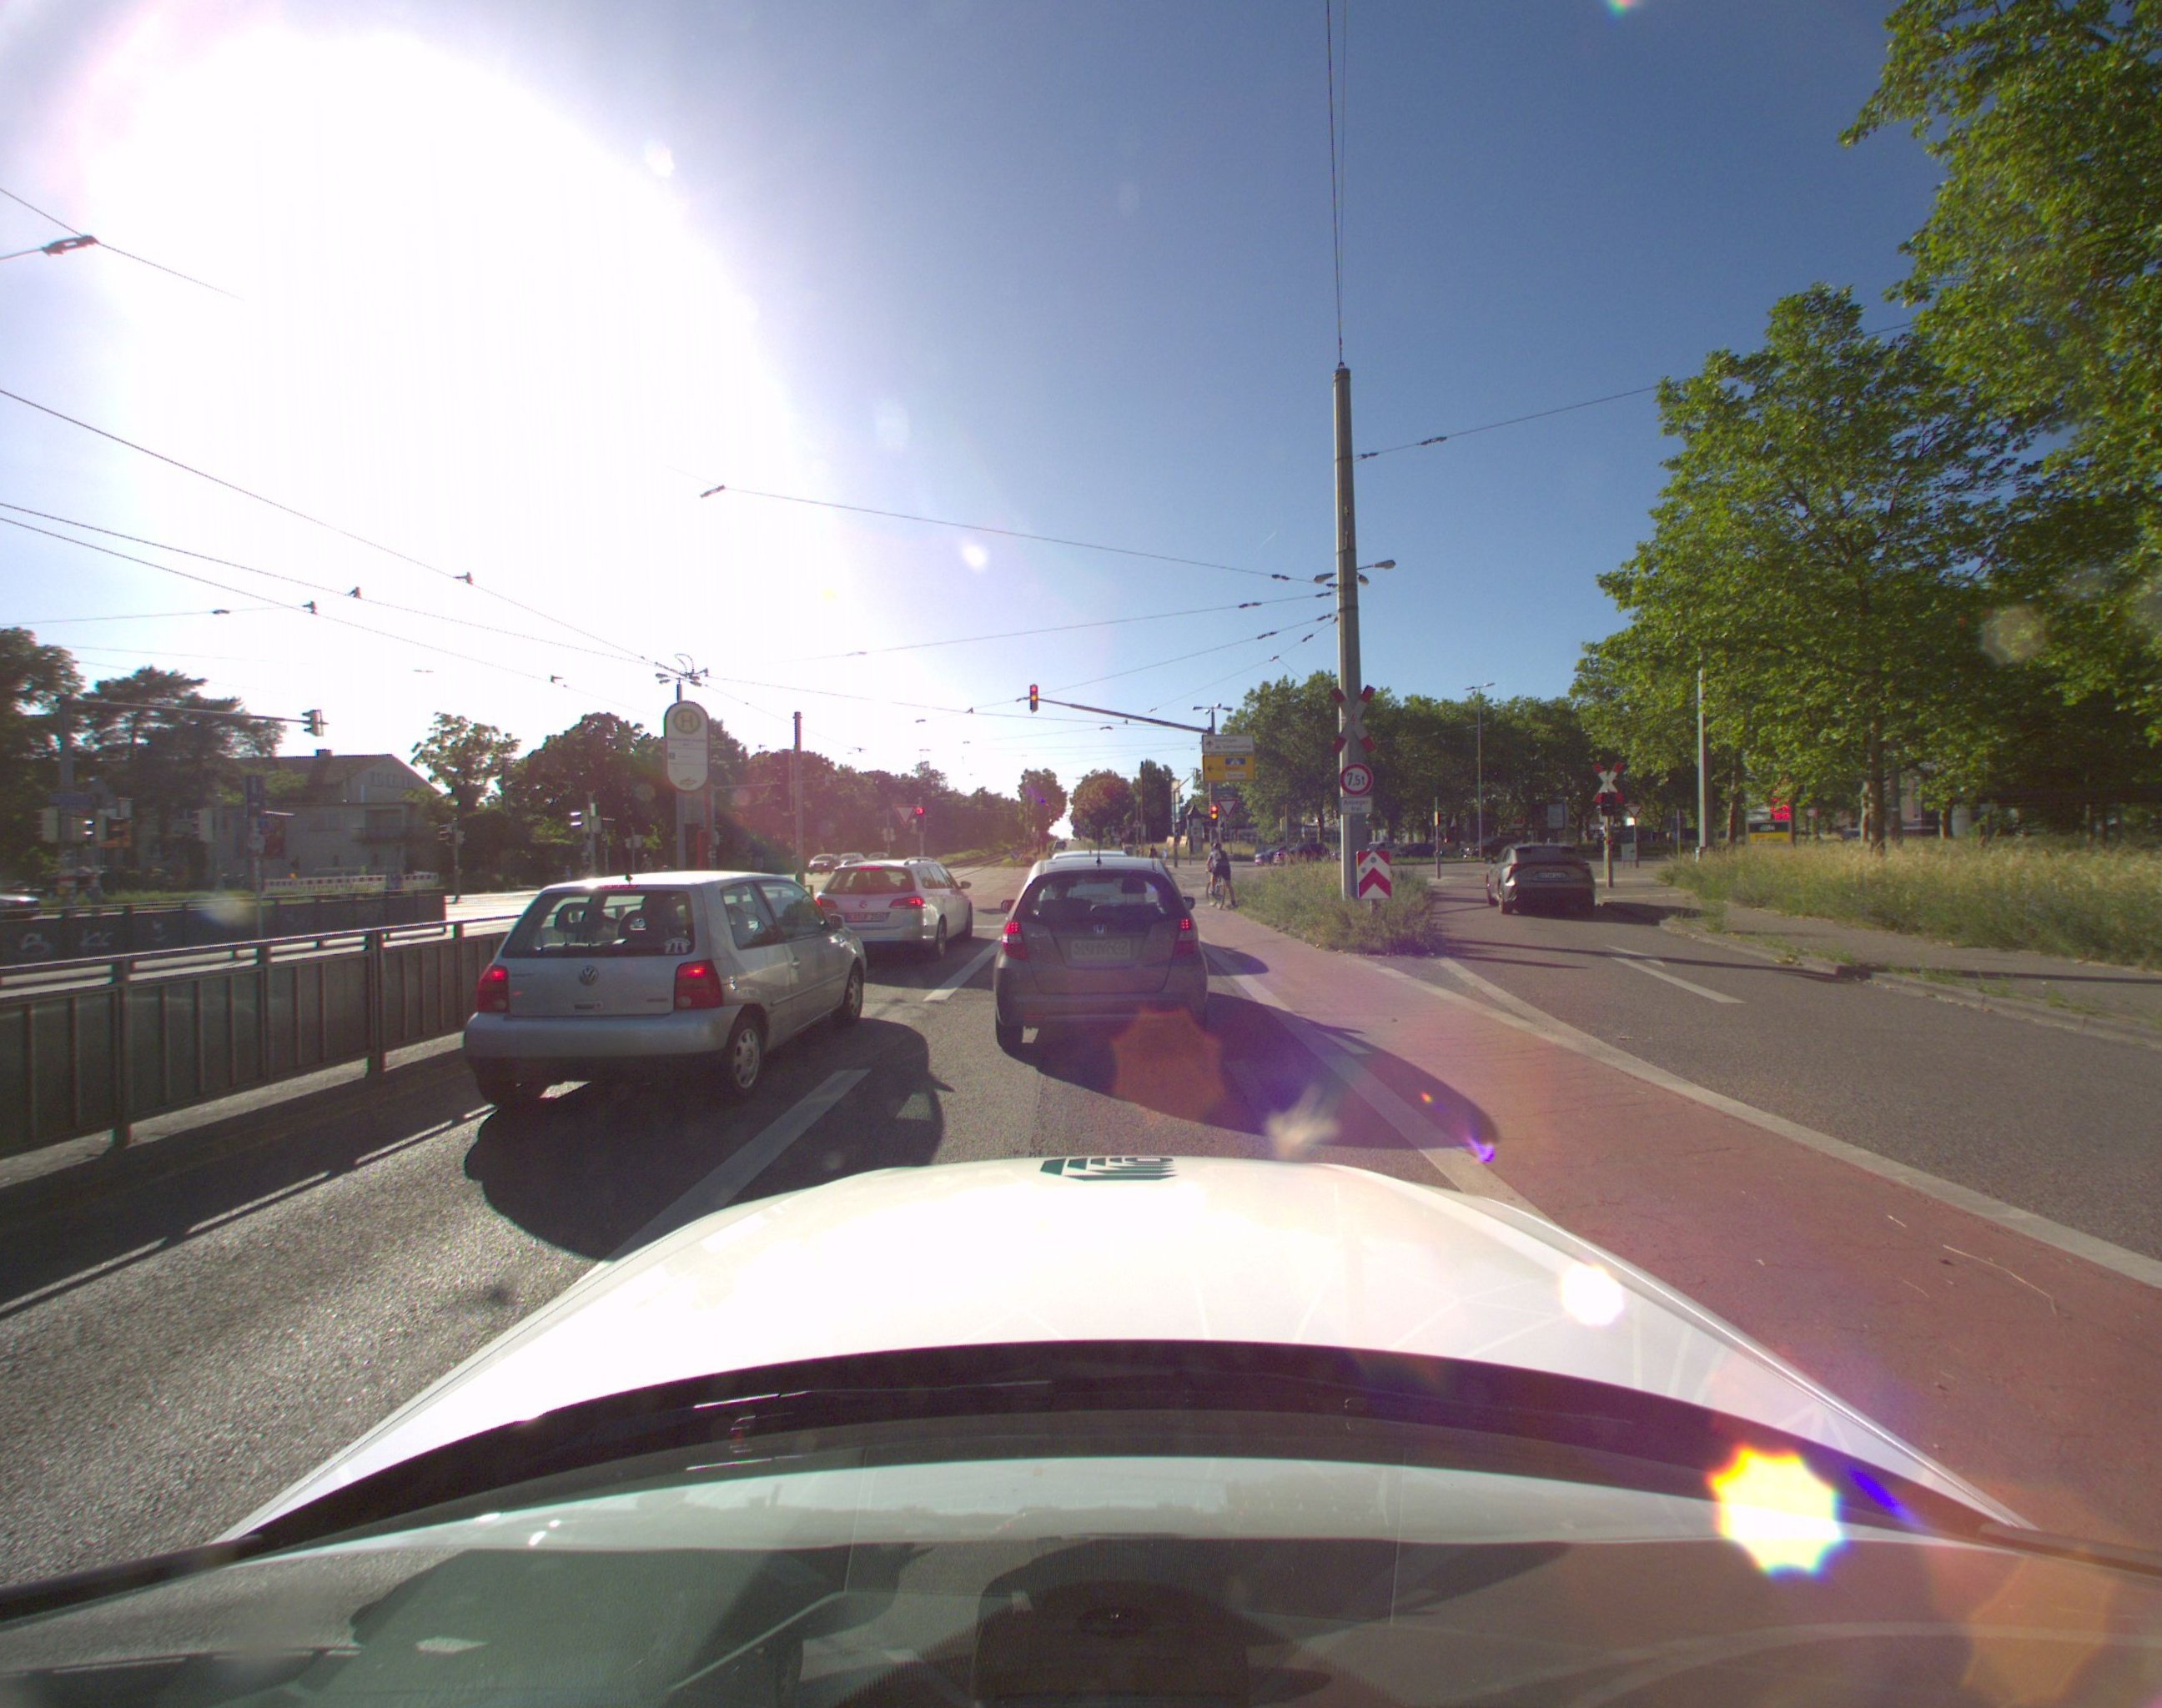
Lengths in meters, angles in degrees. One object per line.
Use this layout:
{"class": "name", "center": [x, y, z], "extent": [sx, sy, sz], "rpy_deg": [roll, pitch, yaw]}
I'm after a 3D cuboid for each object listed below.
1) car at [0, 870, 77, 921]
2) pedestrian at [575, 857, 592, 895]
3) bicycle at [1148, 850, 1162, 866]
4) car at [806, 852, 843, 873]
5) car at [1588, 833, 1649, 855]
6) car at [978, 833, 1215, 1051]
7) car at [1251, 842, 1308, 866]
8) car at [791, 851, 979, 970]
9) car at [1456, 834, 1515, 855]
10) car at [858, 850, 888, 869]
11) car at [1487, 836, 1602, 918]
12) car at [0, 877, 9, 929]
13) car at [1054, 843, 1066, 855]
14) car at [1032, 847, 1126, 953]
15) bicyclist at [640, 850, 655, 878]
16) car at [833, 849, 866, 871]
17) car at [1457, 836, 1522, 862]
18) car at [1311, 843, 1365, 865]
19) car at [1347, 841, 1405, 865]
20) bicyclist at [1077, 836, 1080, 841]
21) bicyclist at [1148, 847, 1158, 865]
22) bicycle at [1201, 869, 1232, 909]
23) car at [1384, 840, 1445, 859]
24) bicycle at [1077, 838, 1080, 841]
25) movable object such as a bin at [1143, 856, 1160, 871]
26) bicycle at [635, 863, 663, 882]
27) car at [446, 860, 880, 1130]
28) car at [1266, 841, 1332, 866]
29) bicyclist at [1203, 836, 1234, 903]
{"class": "car", "center": [-33.844, 1.291, 24.408], "extent": [4.258, 1.466, 1.921], "rpy_deg": [-1, 0, -27]}
{"class": "pedestrian", "center": [-26.363, 1.157, 43.138], "extent": [0.615, 1.948, 0.767], "rpy_deg": [-2, 1, -43]}
{"class": "bicycle", "center": [5.397, 0.301, 59.590], "extent": [0.467, 1.119, 1.811], "rpy_deg": [-1, 0, -14]}
{"class": "car", "center": [-18.941, 0.613, 60.252], "extent": [1.679, 1.458, 3.701], "rpy_deg": [-2, 0, -2]}
{"class": "car", "center": [53.734, -1.023, 81.407], "extent": [5.107, 2.070, 2.122], "rpy_deg": [-1, 0, -13]}
{"class": "car", "center": [0.169, 0.624, 7.688], "extent": [1.664, 1.515, 3.675], "rpy_deg": [-2, 0, 2]}
{"class": "car", "center": [14.639, 0.010, 59.997], "extent": [3.869, 1.600, 1.698], "rpy_deg": [-2, 0, -27]}
{"class": "car", "center": [-2.896, 0.749, 13.069], "extent": [1.871, 1.527, 4.421], "rpy_deg": [-2, 0, 0]}
{"class": "car", "center": [33.846, -0.779, 68.165], "extent": [4.785, 1.682, 1.892], "rpy_deg": [0, -1, -26]}
{"class": "car", "center": [-18.922, 0.455, 74.390], "extent": [1.810, 1.596, 4.686], "rpy_deg": [-1, 0, -4]}
{"class": "car", "center": [10.705, 0.465, 19.082], "extent": [1.805, 1.704, 3.793], "rpy_deg": [0, 1, 21]}
{"class": "car", "center": [-32.262, 1.442, 21.395], "extent": [4.646, 1.477, 1.658], "rpy_deg": [-2, 0, -27]}
{"class": "car", "center": [-3.474, -0.783, 135.375], "extent": [1.987, 2.014, 4.000], "rpy_deg": [0, -1, 0]}
{"class": "car", "center": [-0.021, 0.676, 13.666], "extent": [1.347, 1.527, 3.123], "rpy_deg": [-2, 0, 0]}
{"class": "bicyclist", "center": [-25.360, 0.573, 47.686], "extent": [0.487, 1.608, 0.648], "rpy_deg": [-2, 0, 1]}
{"class": "car", "center": [-18.741, 0.475, 66.069], "extent": [1.788, 1.687, 3.994], "rpy_deg": [-2, 0, -5]}
{"class": "car", "center": [29.479, -0.366, 58.732], "extent": [4.504, 1.711, 1.904], "rpy_deg": [-2, 0, -27]}
{"class": "car", "center": [19.687, -0.007, 62.423], "extent": [3.869, 1.600, 1.698], "rpy_deg": [-2, 0, -27]}
{"class": "car", "center": [21.347, -0.047, 58.954], "extent": [3.864, 1.600, 1.700], "rpy_deg": [-2, 0, -23]}
{"class": "bicyclist", "center": [-0.788, -4.740, 247.344], "extent": [0.815, 1.524, 0.966], "rpy_deg": [0, -1, 0]}
{"class": "bicyclist", "center": [5.303, 0.143, 60.075], "extent": [0.510, 1.340, 0.562], "rpy_deg": [-2, 0, -14]}
{"class": "bicycle", "center": [3.539, 0.897, 21.409], "extent": [0.522, 0.923, 2.090], "rpy_deg": [-2, 0, 2]}
{"class": "car", "center": [26.698, -0.373, 65.249], "extent": [4.578, 1.408, 1.918], "rpy_deg": [-2, 0, -26]}
{"class": "bicycle", "center": [-0.795, -4.373, 247.321], "extent": [0.815, 1.048, 2.506], "rpy_deg": [0, -1, 1]}
{"class": "movable object such as a bin", "center": [5.308, 0.705, 61.247], "extent": [0.910, 1.068, 1.311], "rpy_deg": [0, 0, -13]}
{"class": "bicycle", "center": [-25.356, 1.094, 47.818], "extent": [0.505, 1.042, 1.949], "rpy_deg": [-2, 0, 1]}
{"class": "car", "center": [-2.809, 0.818, 6.359], "extent": [1.576, 1.468, 3.414], "rpy_deg": [-1, 0, 0]}
{"class": "car", "center": [14.950, -0.041, 55.801], "extent": [4.095, 1.600, 1.802], "rpy_deg": [-2, 0, -23]}
{"class": "bicyclist", "center": [3.578, 0.391, 21.252], "extent": [0.613, 1.679, 0.933], "rpy_deg": [-2, 0, 0]}
